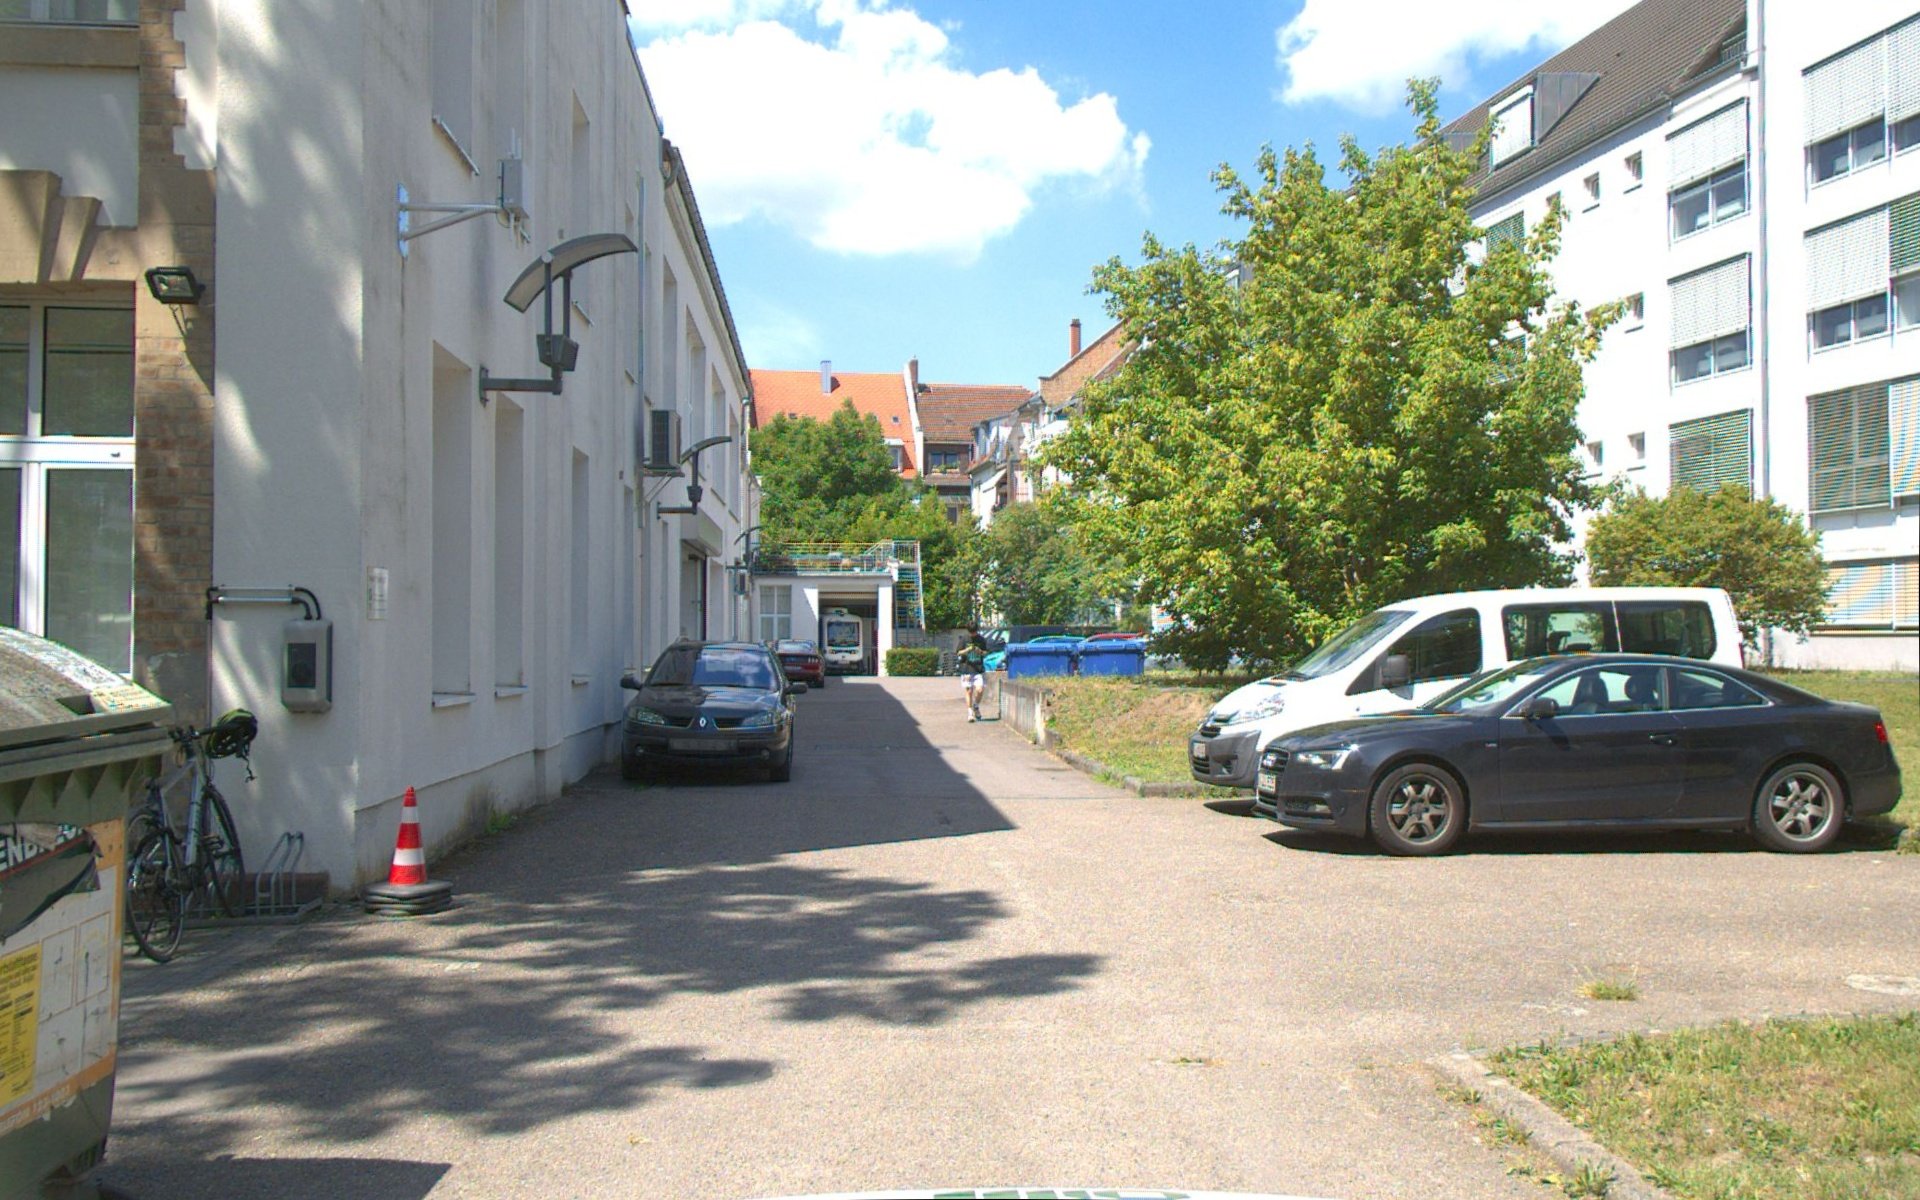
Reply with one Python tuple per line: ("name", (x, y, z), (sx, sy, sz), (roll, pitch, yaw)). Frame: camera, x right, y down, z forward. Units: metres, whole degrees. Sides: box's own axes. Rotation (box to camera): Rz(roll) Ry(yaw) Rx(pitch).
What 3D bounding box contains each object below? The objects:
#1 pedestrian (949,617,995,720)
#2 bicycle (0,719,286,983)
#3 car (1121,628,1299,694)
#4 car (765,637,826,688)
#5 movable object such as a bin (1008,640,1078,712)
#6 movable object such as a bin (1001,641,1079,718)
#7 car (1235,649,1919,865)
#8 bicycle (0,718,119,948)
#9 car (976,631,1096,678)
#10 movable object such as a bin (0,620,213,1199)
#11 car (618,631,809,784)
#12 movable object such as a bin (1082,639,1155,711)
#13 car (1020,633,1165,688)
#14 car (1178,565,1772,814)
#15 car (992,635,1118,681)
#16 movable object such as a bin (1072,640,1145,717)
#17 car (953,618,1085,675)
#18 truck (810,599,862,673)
("pedestrian", (0.207, 1.196, 29.212), (0.742, 1.786, 0.751), (0, -1, -4))
("bicycle", (-3.748, 1.096, 7.683), (0.599, 0.975, 1.729), (0, -1, -3))
("car", (5.998, 1.448, 39.915), (3.911, 1.504, 1.802), (-1, -1, -7))
("car", (-4.957, 1.856, 49.929), (1.764, 1.415, 3.995), (-1, -1, -5))
("movable object such as a bin", (1.594, 1.458, 31.984), (1.170, 1.350, 1.159), (0, -1, -7))
("movable object such as a bin", (1.452, 1.444, 30.227), (1.312, 1.350, 1.160), (-1, -1, -2))
("car", (4.452, 1.077, 12.090), (4.521, 1.376, 1.832), (0, -1, -5))
("bicycle", (-4.676, 1.101, 7.563), (0.593, 0.975, 2.258), (0, -1, -3))
("car", (2.622, 1.868, 57.587), (3.911, 1.561, 1.802), (-1, -1, -7))
("movable object such as a bin", (-2.279, 0.797, 3.228), (1.023, 1.505, 1.409), (-1, -1, -1))
("car", (-2.609, 1.093, 18.377), (1.720, 1.455, 4.382), (0, -1, -4))
("movable object such as a bin", (3.057, 1.434, 32.063), (1.193, 1.350, 1.159), (0, -1, -7))
("car", (3.821, 1.729, 48.046), (3.911, 1.504, 1.802), (-1, -1, -7))
("car", (4.467, 0.758, 14.817), (4.666, 2.049, 1.998), (0, -2, -5))
("car", (3.117, 1.906, 54.641), (3.911, 1.415, 1.802), (-1, -1, -7))
("movable object such as a bin", (2.717, 1.423, 30.361), (1.192, 1.350, 1.160), (-1, -1, -2))
("car", (2.129, 1.693, 60.597), (4.588, 1.992, 2.073), (-1, -1, -7))
("truck", (-5.210, 1.513, 69.053), (1.755, 2.989, 4.642), (0, -1, -10))
